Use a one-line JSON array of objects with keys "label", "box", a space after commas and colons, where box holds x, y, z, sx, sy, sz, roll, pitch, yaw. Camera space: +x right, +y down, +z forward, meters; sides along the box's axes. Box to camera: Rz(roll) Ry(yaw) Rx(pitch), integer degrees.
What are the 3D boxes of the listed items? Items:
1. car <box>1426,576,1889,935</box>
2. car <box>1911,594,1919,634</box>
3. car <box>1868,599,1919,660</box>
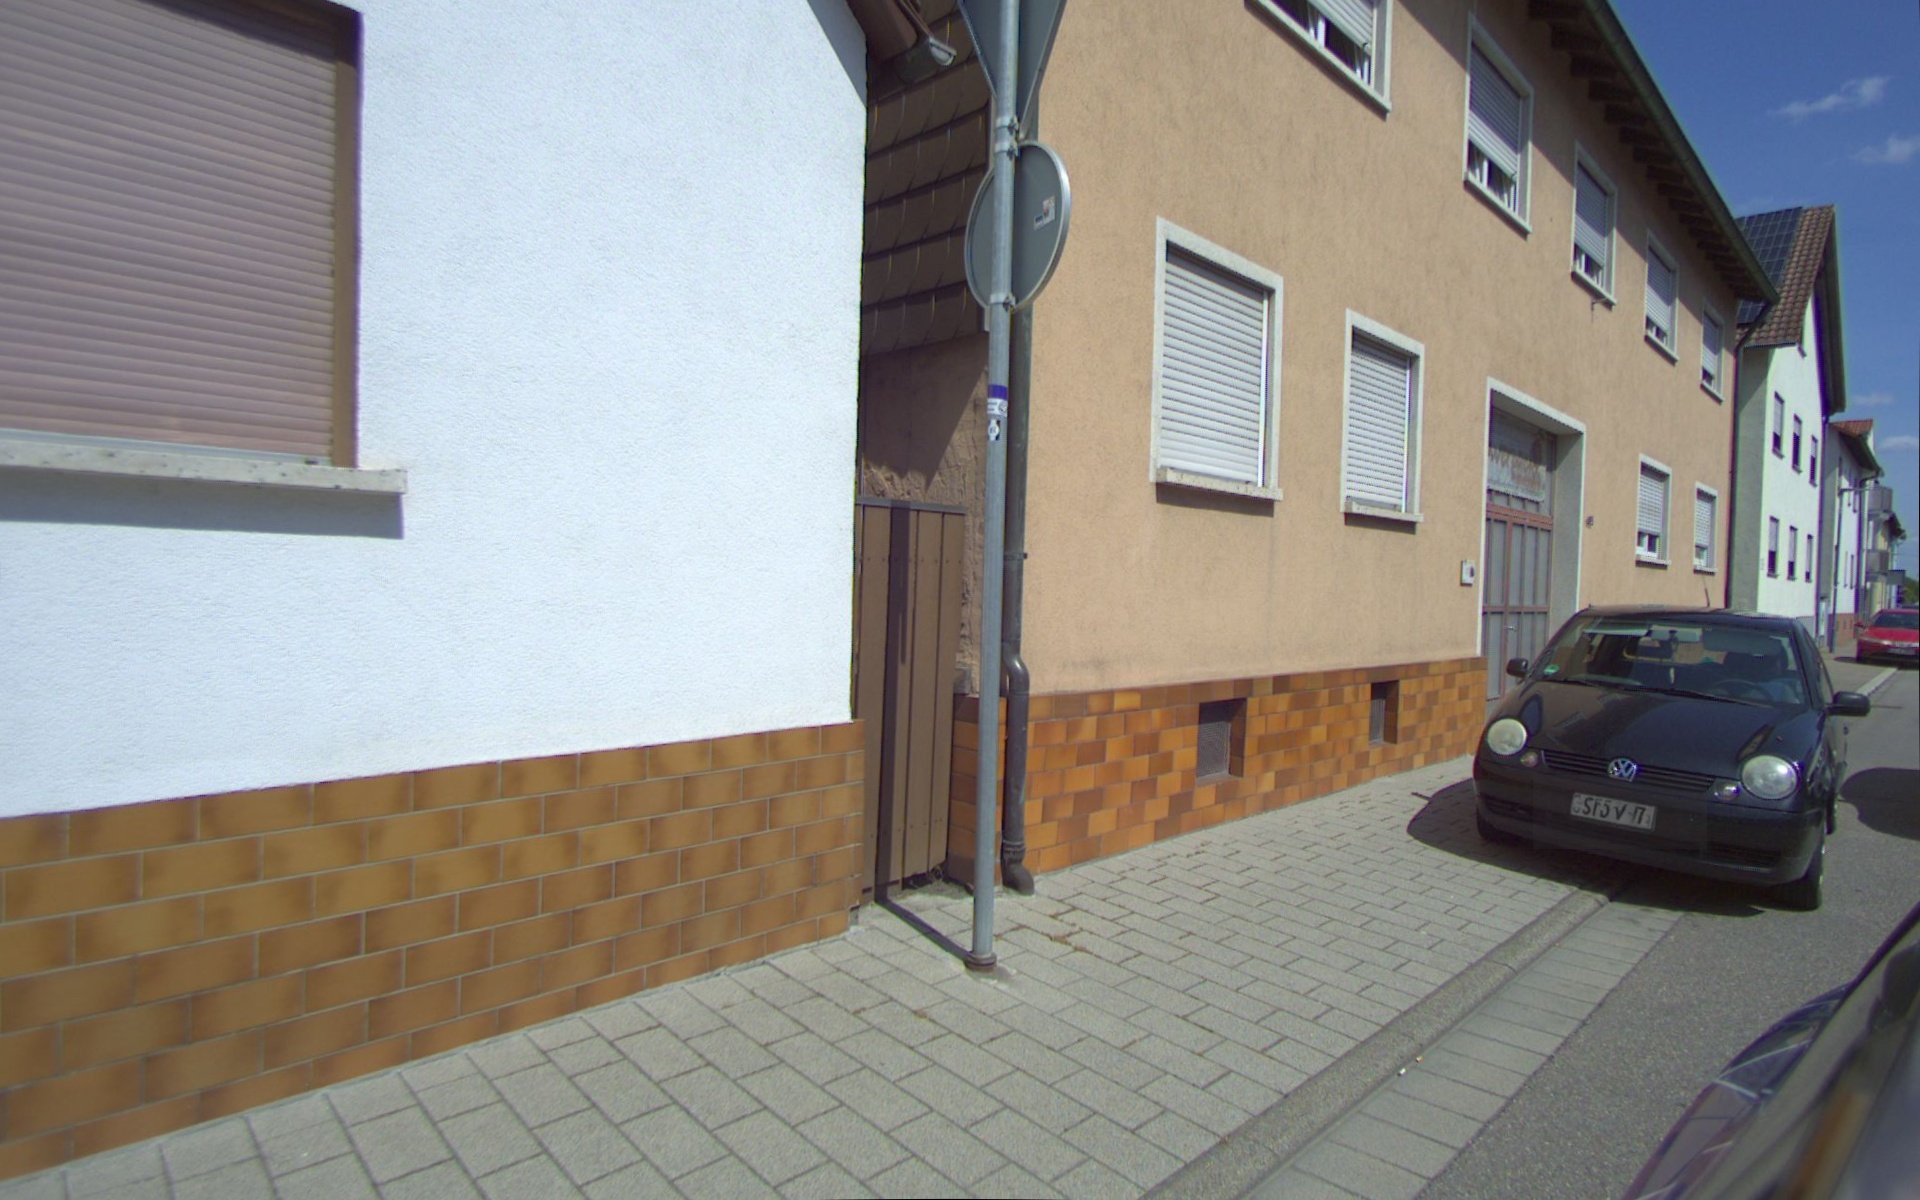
[{"label": "car", "box": [4.476, 0.683, 6.283, 1.687, 1.481, 3.570, 6, 3, 45]}, {"label": "car", "box": [36.931, 0.577, 37.916, 1.761, 1.446, 4.121, 3, 2, 45]}, {"label": "car", "box": [24.809, 0.744, 26.162, 1.761, 1.446, 4.121, 3, 2, 45]}]
